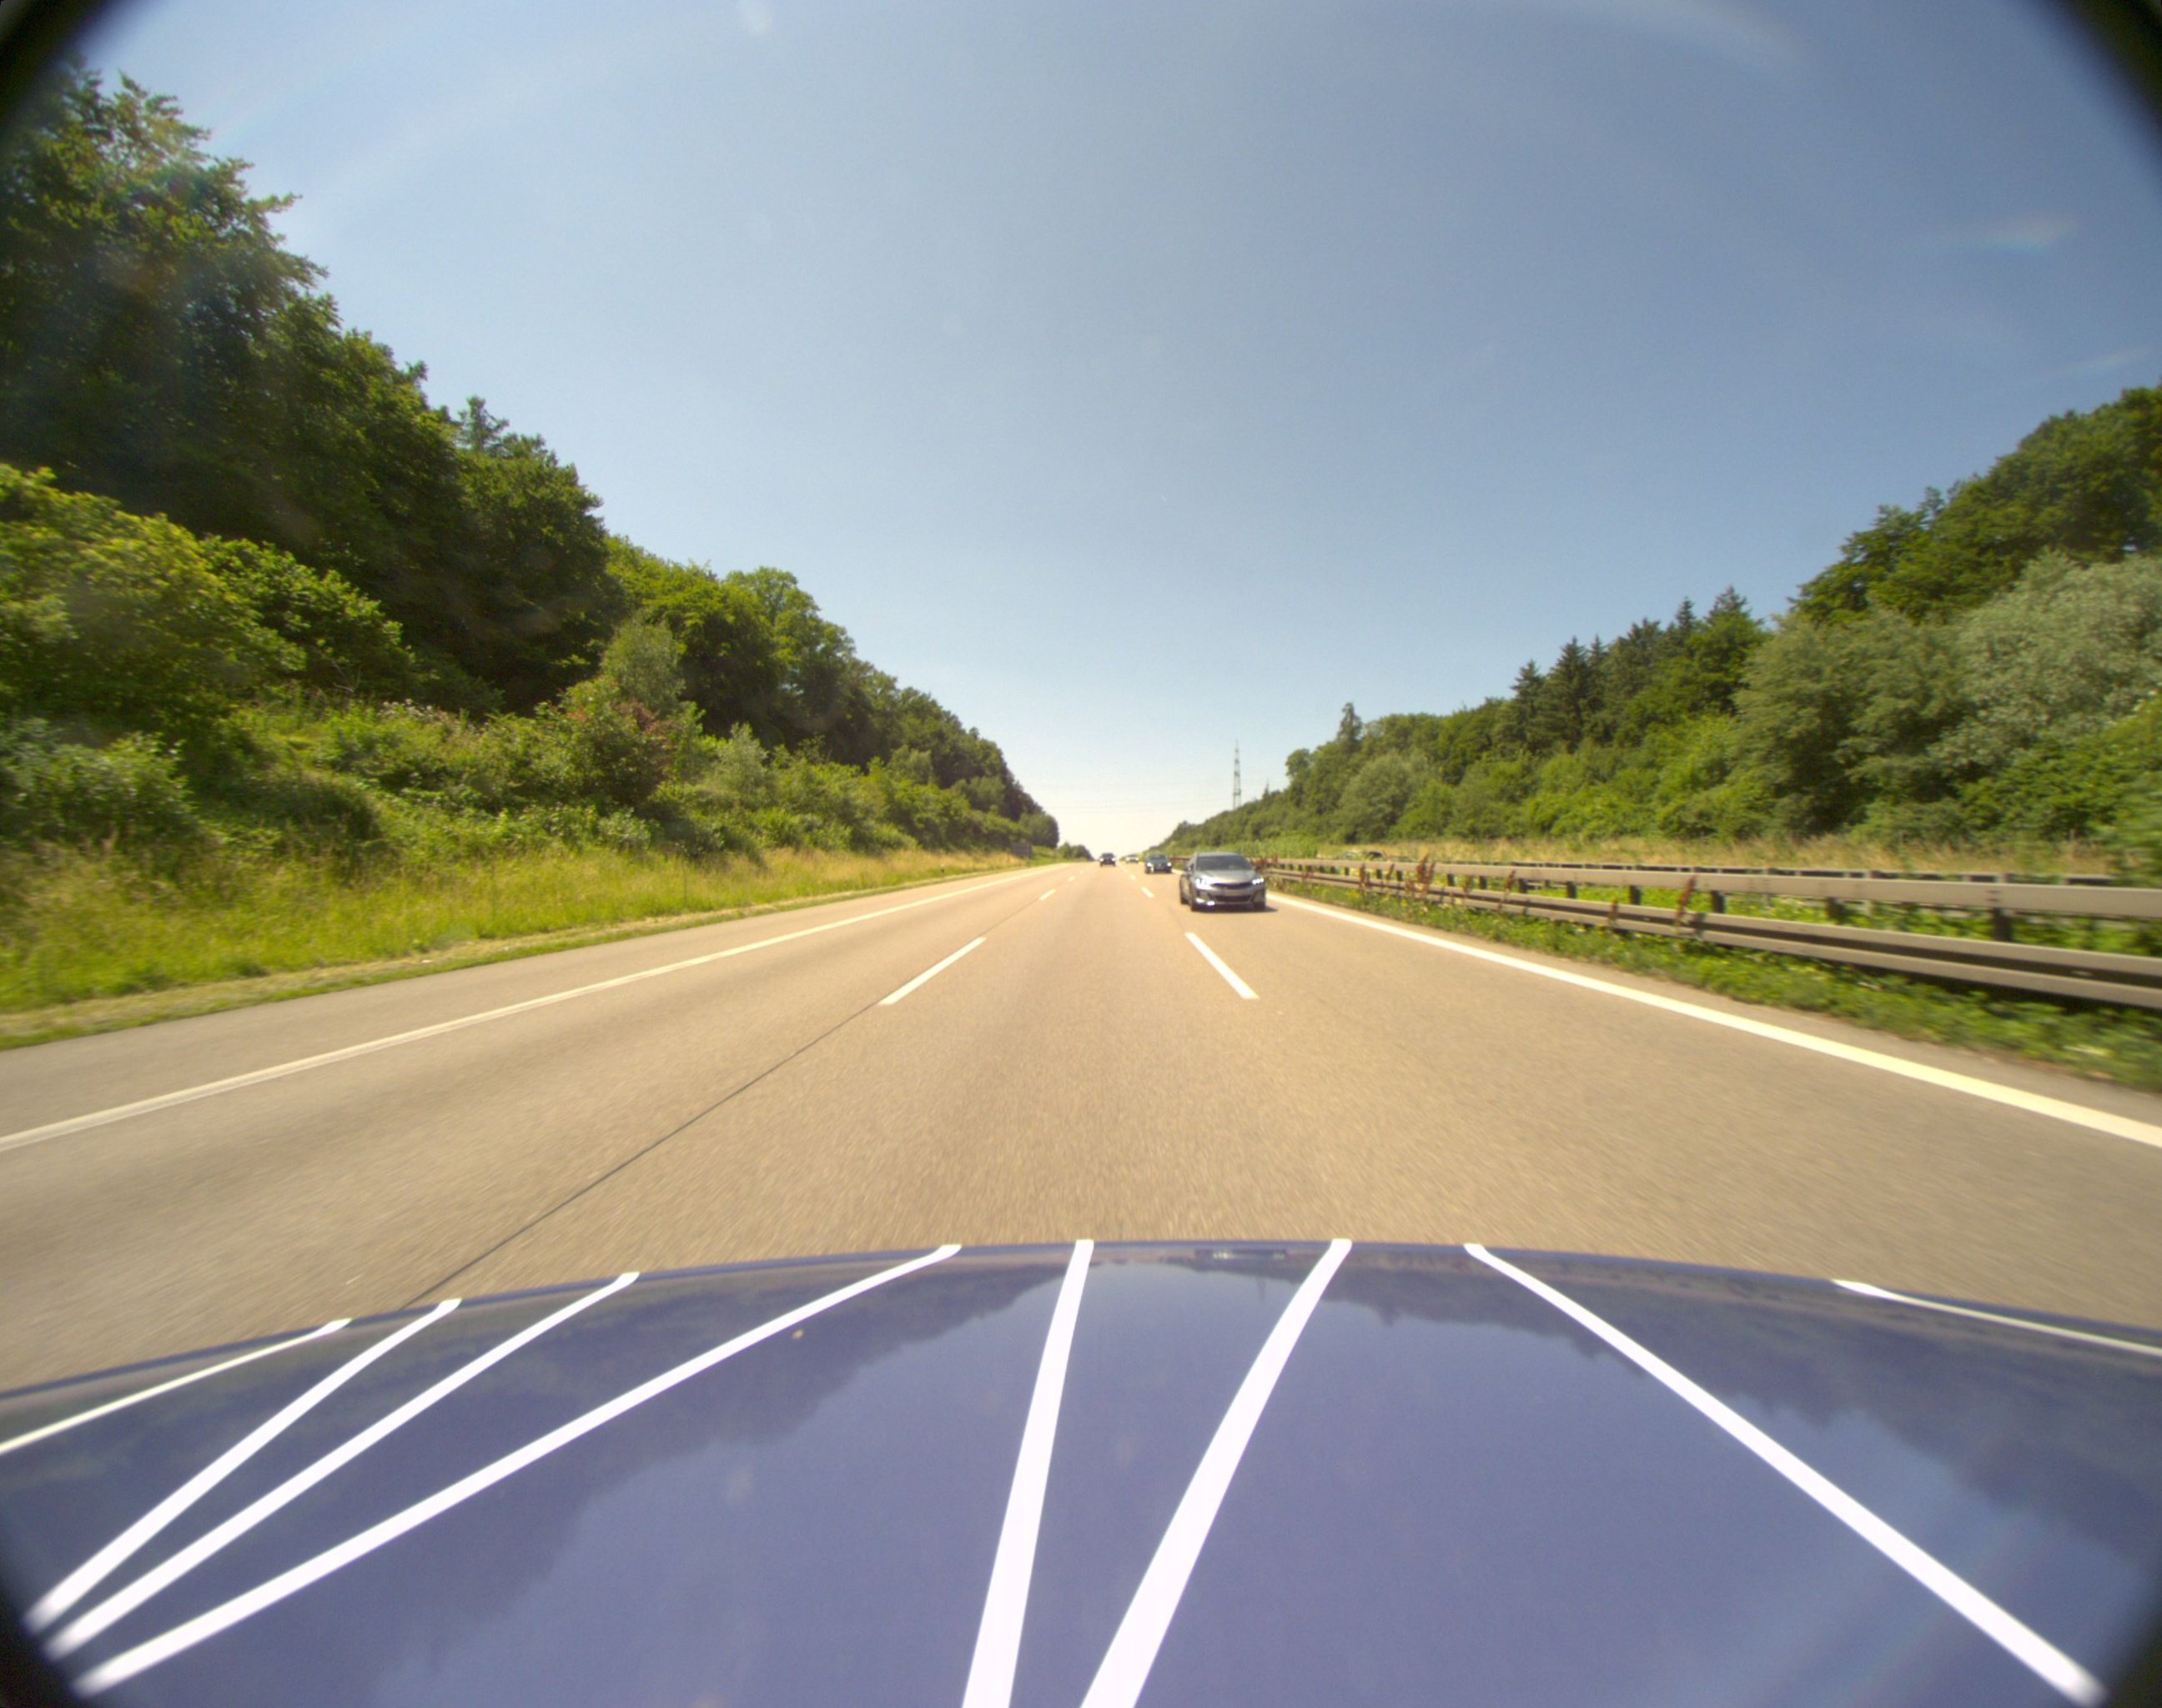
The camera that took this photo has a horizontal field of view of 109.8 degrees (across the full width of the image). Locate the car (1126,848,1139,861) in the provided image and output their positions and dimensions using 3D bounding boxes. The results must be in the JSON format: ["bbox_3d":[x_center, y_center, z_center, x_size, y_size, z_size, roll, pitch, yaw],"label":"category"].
[{"bbox_3d":[8.024,0.103,118.156,1.875,2.002,4.000,-1,0,1],"label":"car"}]

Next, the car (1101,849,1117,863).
[{"bbox_3d":[3.356,0.230,91.266,1.787,1.550,3.943,-2,0,1],"label":"car"}]

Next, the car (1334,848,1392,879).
[{"bbox_3d":[14.555,0.459,39.429,1.660,1.495,3.786,-1,0,1],"label":"car"}]

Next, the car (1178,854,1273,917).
[{"bbox_3d":[3.601,0.738,19.654,1.768,1.400,3.999,-1,0,2],"label":"car"}]

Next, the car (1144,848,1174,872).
[{"bbox_3d":[5.509,0.427,53.783,1.741,1.610,3.943,-1,0,1],"label":"car"}]
